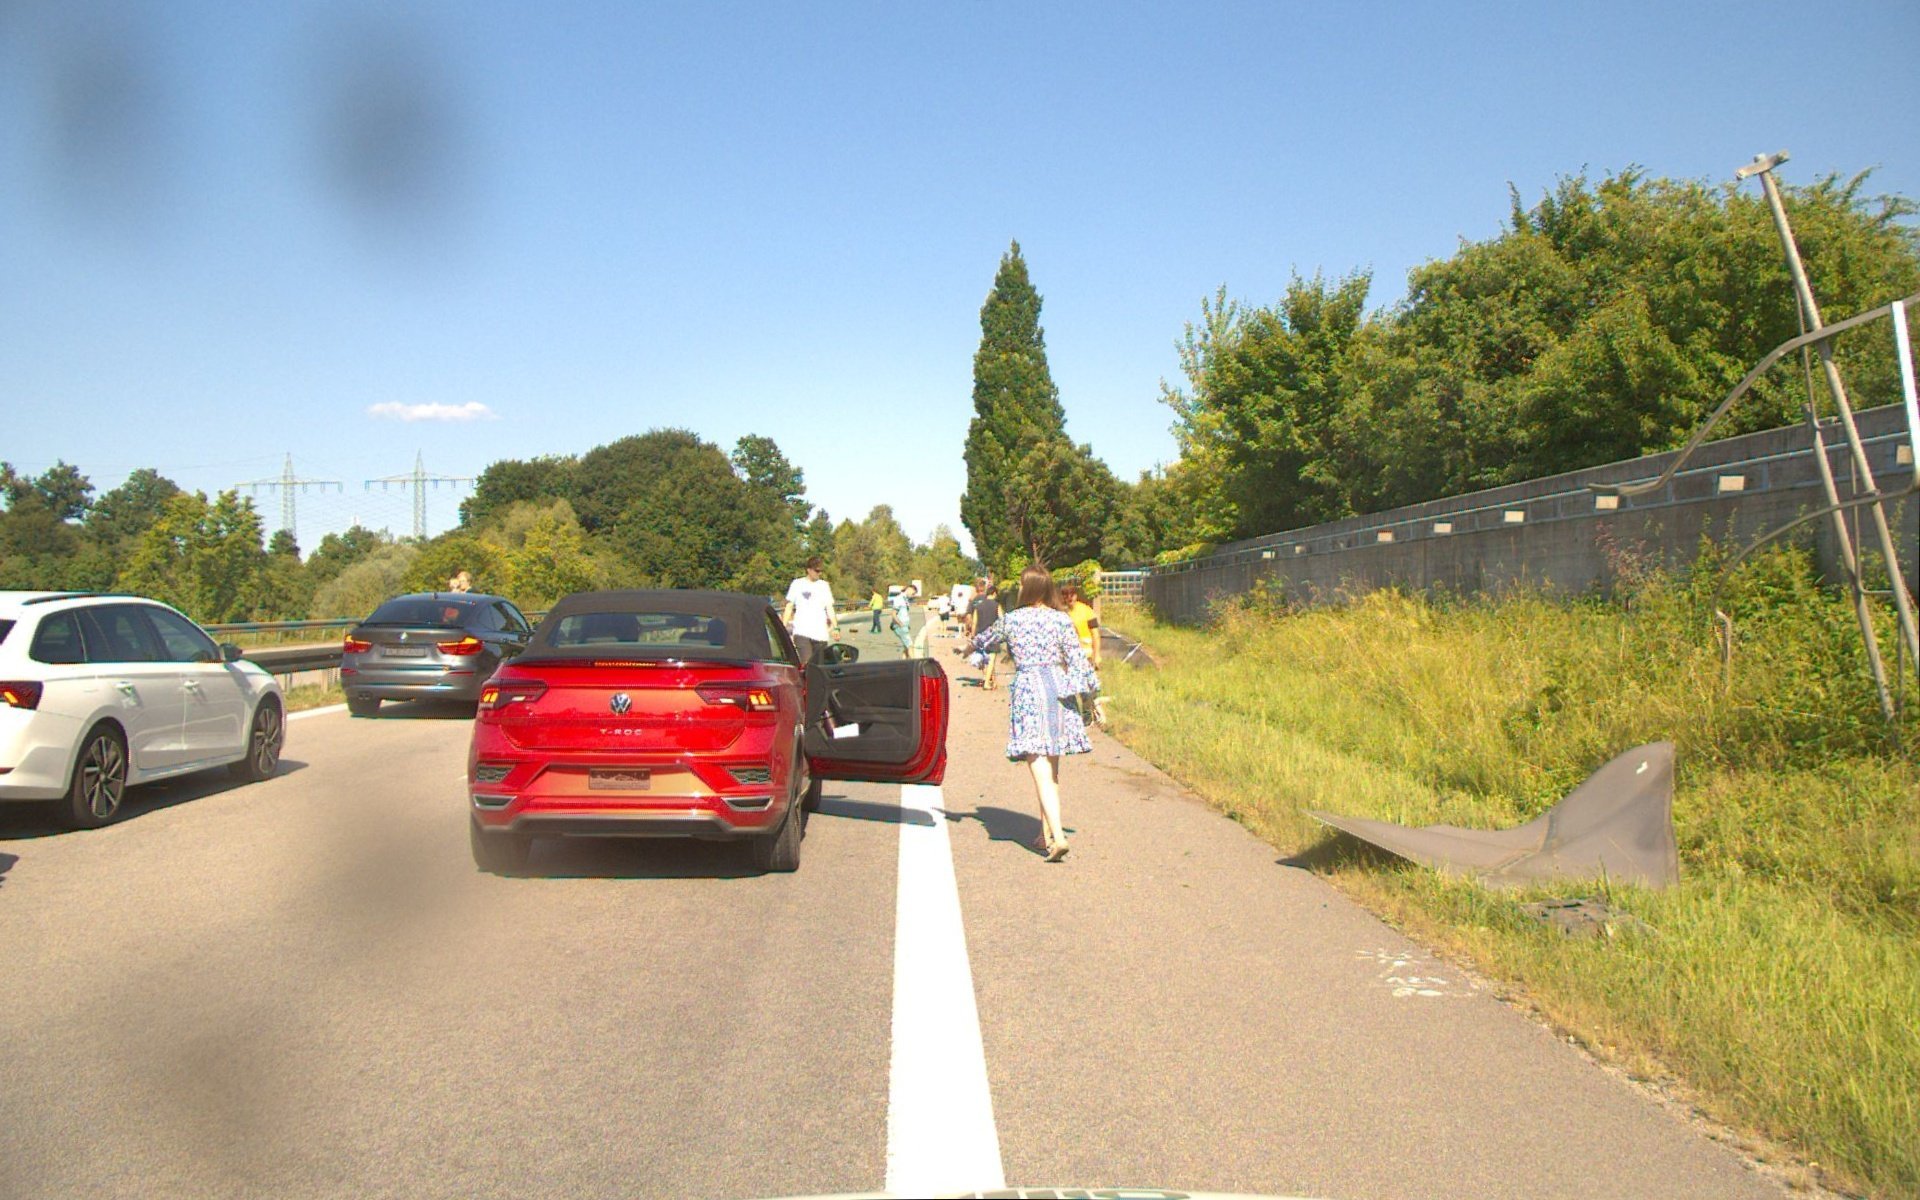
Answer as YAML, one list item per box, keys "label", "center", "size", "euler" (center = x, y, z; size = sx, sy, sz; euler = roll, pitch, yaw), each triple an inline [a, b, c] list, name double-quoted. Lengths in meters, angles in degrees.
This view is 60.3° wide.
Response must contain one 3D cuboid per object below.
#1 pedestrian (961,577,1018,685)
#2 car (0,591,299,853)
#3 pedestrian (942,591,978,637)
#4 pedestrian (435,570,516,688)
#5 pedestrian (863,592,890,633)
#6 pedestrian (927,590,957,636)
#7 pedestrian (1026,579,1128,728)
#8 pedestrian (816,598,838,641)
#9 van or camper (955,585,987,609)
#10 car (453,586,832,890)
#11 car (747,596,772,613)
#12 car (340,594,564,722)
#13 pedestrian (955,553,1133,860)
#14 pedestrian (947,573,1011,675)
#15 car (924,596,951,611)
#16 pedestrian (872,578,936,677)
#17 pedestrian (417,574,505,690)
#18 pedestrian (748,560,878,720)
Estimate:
- label: "pedestrian"
  center: [0.484, 0.505, 27.456]
  size: [0.877, 1.755, 0.754]
  euler: [1, -1, -4]
- label: "car"
  center: [-6.180, 0.681, 11.419]
  size: [1.660, 1.467, 4.208]
  euler: [1, 0, -2]
- label: "pedestrian"
  center: [-0.004, 0.517, 62.631]
  size: [0.995, 1.719, 0.991]
  euler: [1, -1, -26]
- label: "pedestrian"
  center: [-8.025, 0.469, 27.453]
  size: [1.044, 1.916, 1.093]
  euler: [-1, 0, -3]
- label: "pedestrian"
  center: [-3.494, 0.520, 69.375]
  size: [0.992, 1.719, 1.060]
  euler: [1, -1, 4]
- label: "pedestrian"
  center: [-0.695, 0.488, 62.876]
  size: [1.091, 1.719, 0.973]
  euler: [1, -1, -2]
- label: "pedestrian"
  center: [1.389, 0.605, 19.458]
  size: [0.937, 1.682, 1.279]
  euler: [-1, 0, 16]
- label: "pedestrian"
  center: [-5.364, 0.790, 66.771]
  size: [0.775, 1.719, 0.792]
  euler: [1, -1, 3]
- label: "van or camper"
  center: [1.100, -0.274, 162.604]
  size: [1.951, 2.356, 4.473]
  euler: [1, 0, 15]
- label: "car"
  center: [-1.750, 0.687, 10.392]
  size: [1.697, 1.513, 4.208]
  euler: [1, 0, -2]
- label: "car"
  center: [-17.320, 0.374, 143.013]
  size: [1.660, 1.451, 4.305]
  euler: [1, 0, 0]
- label: "car"
  center: [-6.370, 0.662, 21.210]
  size: [1.660, 1.451, 4.332]
  euler: [1, 0, -2]
- label: "pedestrian"
  center: [0.480, 0.600, 9.970]
  size: [0.873, 1.725, 1.127]
  euler: [-1, 0, -7]
- label: "pedestrian"
  center: [0.343, 0.423, 29.596]
  size: [0.813, 1.790, 0.809]
  euler: [0, -1, 42]
- label: "car"
  center: [-2.303, 0.351, 169.171]
  size: [1.695, 1.513, 4.213]
  euler: [1, 0, 14]
- label: "pedestrian"
  center: [-1.041, 0.516, 31.291]
  size: [1.065, 1.820, 1.108]
  euler: [1, -1, 4]
- label: "pedestrian"
  center: [-7.965, 0.501, 26.443]
  size: [1.092, 1.794, 1.043]
  euler: [-1, 0, -3]
- label: "pedestrian"
  center: [-1.847, 0.483, 20.856]
  size: [1.228, 1.946, 1.109]
  euler: [-1, 0, 24]
